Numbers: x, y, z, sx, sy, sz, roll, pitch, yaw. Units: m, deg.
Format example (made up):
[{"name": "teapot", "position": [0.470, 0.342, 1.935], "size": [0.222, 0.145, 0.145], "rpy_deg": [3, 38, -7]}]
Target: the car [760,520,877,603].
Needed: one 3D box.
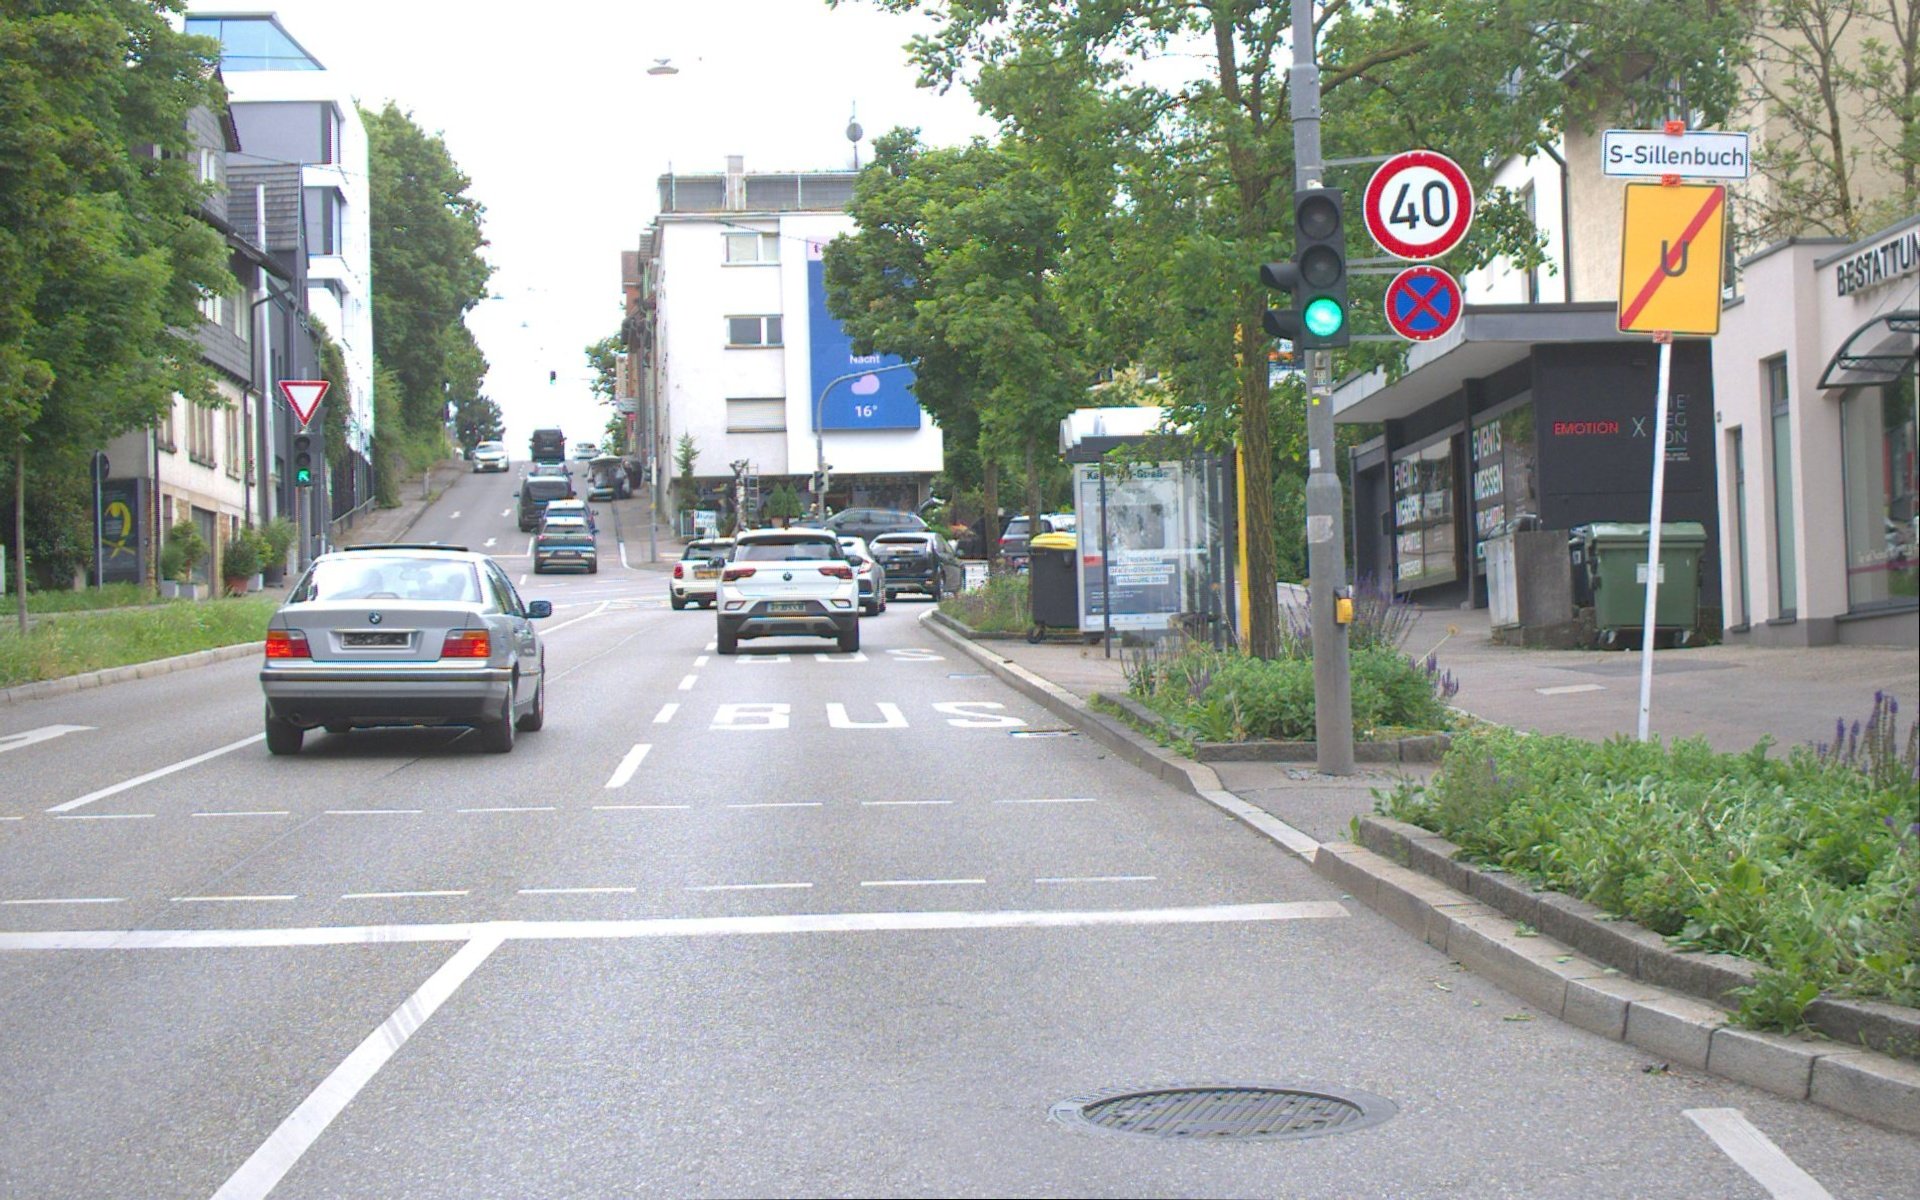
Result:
[{"name": "car", "position": [-2.519, -0.716, 62.136], "size": [1.780, 1.405, 4.000], "rpy_deg": [0, 2, 2]}]

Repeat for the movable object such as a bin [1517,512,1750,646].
[{"name": "movable object such as a bin", "position": [7.744, -0.283, 39.885], "size": [1.888, 1.447, 4.000], "rpy_deg": [-1, 2, 0]}]

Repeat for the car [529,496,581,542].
[{"name": "car", "position": [-14.344, -2.890, 121.992], "size": [1.779, 1.573, 4.001], "rpy_deg": [-1, 2, -6]}]

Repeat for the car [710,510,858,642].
[{"name": "car", "position": [-2.247, -0.345, 43.704], "size": [1.779, 1.573, 4.001], "rpy_deg": [-1, 2, -3]}]

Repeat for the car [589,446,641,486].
[{"name": "car", "position": [-14.484, -5.615, 144.554], "size": [2.089, 1.607, 4.001], "rpy_deg": [-1, 1, -5]}]

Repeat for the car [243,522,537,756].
[{"name": "car", "position": [-3.887, 0.203, 23.998], "size": [1.706, 1.459, 4.001], "rpy_deg": [0, 2, -5]}]

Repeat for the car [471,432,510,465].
[{"name": "car", "position": [-24.538, -7.939, 179.864], "size": [1.882, 1.562, 4.391], "rpy_deg": [-2, 4, -6]}]

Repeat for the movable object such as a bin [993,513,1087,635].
[{"name": "movable object such as a bin", "position": [0.986, -0.340, 42.742], "size": [1.085, 1.476, 1.537], "rpy_deg": [-1, 1, -1]}]

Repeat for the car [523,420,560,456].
[{"name": "car", "position": [-23.841, -9.216, 195.953], "size": [1.993, 2.006, 4.001], "rpy_deg": [0, 2, -6]}]

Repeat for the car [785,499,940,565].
[{"name": "car", "position": [-3.146, -2.174, 109.932], "size": [4.687, 1.706, 2.319], "rpy_deg": [3, 4, -6]}]

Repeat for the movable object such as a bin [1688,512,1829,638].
[{"name": "movable object such as a bin", "position": [9.163, -0.298, 39.506], "size": [1.340, 1.404, 1.128], "rpy_deg": [-1, 1, 0]}]

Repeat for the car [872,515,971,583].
[{"name": "car", "position": [-0.804, -1.121, 74.431], "size": [1.794, 1.405, 4.000], "rpy_deg": [0, 2, 5]}]

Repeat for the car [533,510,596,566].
[{"name": "car", "position": [-11.448, -1.817, 99.663], "size": [1.779, 1.573, 4.001], "rpy_deg": [0, 2, -6]}]

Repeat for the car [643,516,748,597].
[{"name": "car", "position": [-5.360, -0.911, 70.147], "size": [1.780, 1.573, 4.000], "rpy_deg": [0, 2, 1]}]
